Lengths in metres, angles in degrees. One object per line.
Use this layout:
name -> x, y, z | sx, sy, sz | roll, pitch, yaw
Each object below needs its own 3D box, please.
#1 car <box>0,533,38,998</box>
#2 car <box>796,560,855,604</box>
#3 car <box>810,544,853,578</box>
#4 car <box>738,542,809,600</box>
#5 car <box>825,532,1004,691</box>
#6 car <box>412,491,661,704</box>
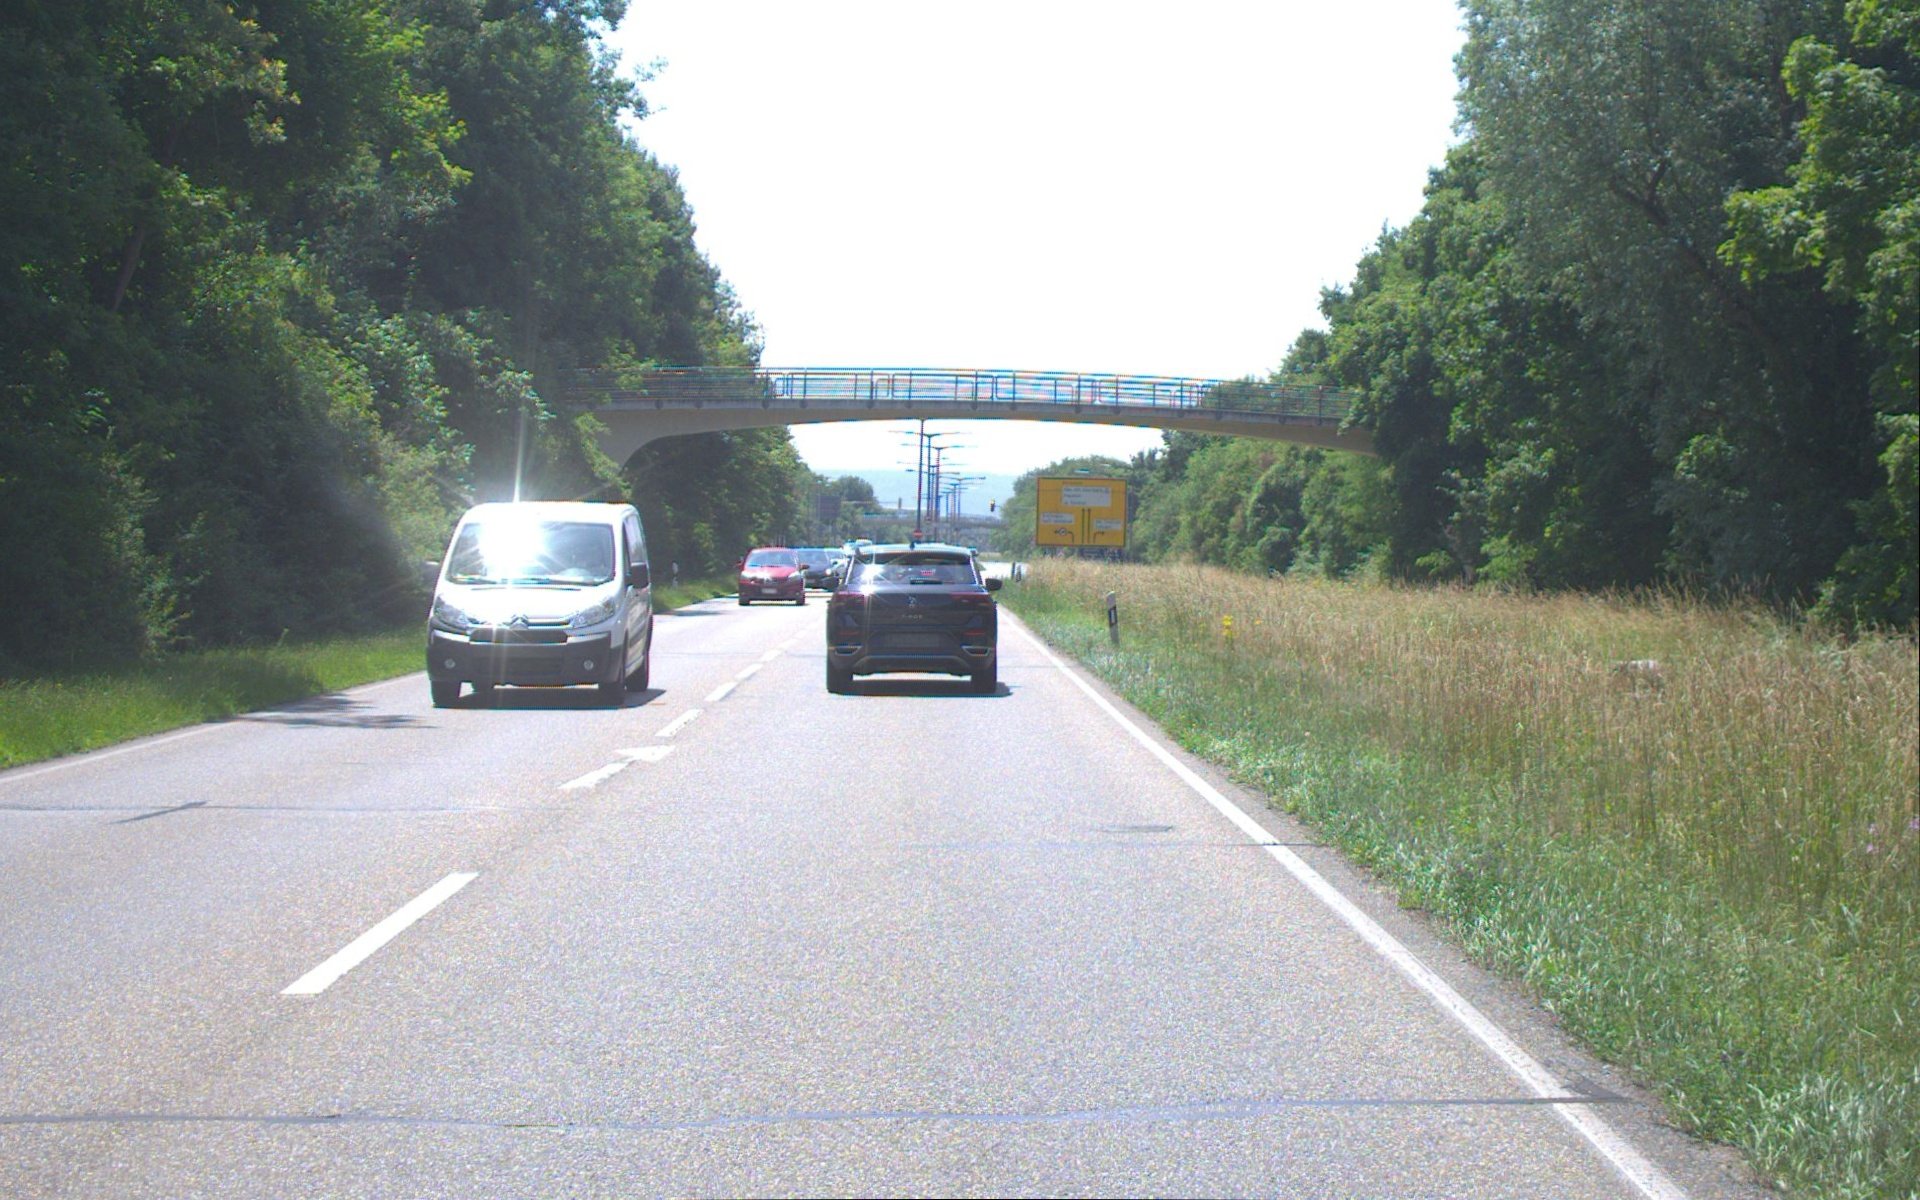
car -> -3.920, 0.551, 9.634 | 1.672, 1.513, 4.000 | 0, 1, -1
car -> -4.560, -0.612, 116.812 | 1.784, 1.444, 4.109 | 0, 1, 1
car -> -5.566, -1.697, 149.658 | 1.677, 1.428, 3.772 | 0, 1, 1
car -> -4.882, -0.783, 90.436 | 1.682, 1.488, 4.000 | 0, 1, 0
car -> -0.464, 0.097, 36.601 | 1.755, 1.551, 4.000 | 2, 1, 0
car -> -4.089, -0.054, 33.930 | 1.875, 1.922, 4.987 | 1, 1, -1
